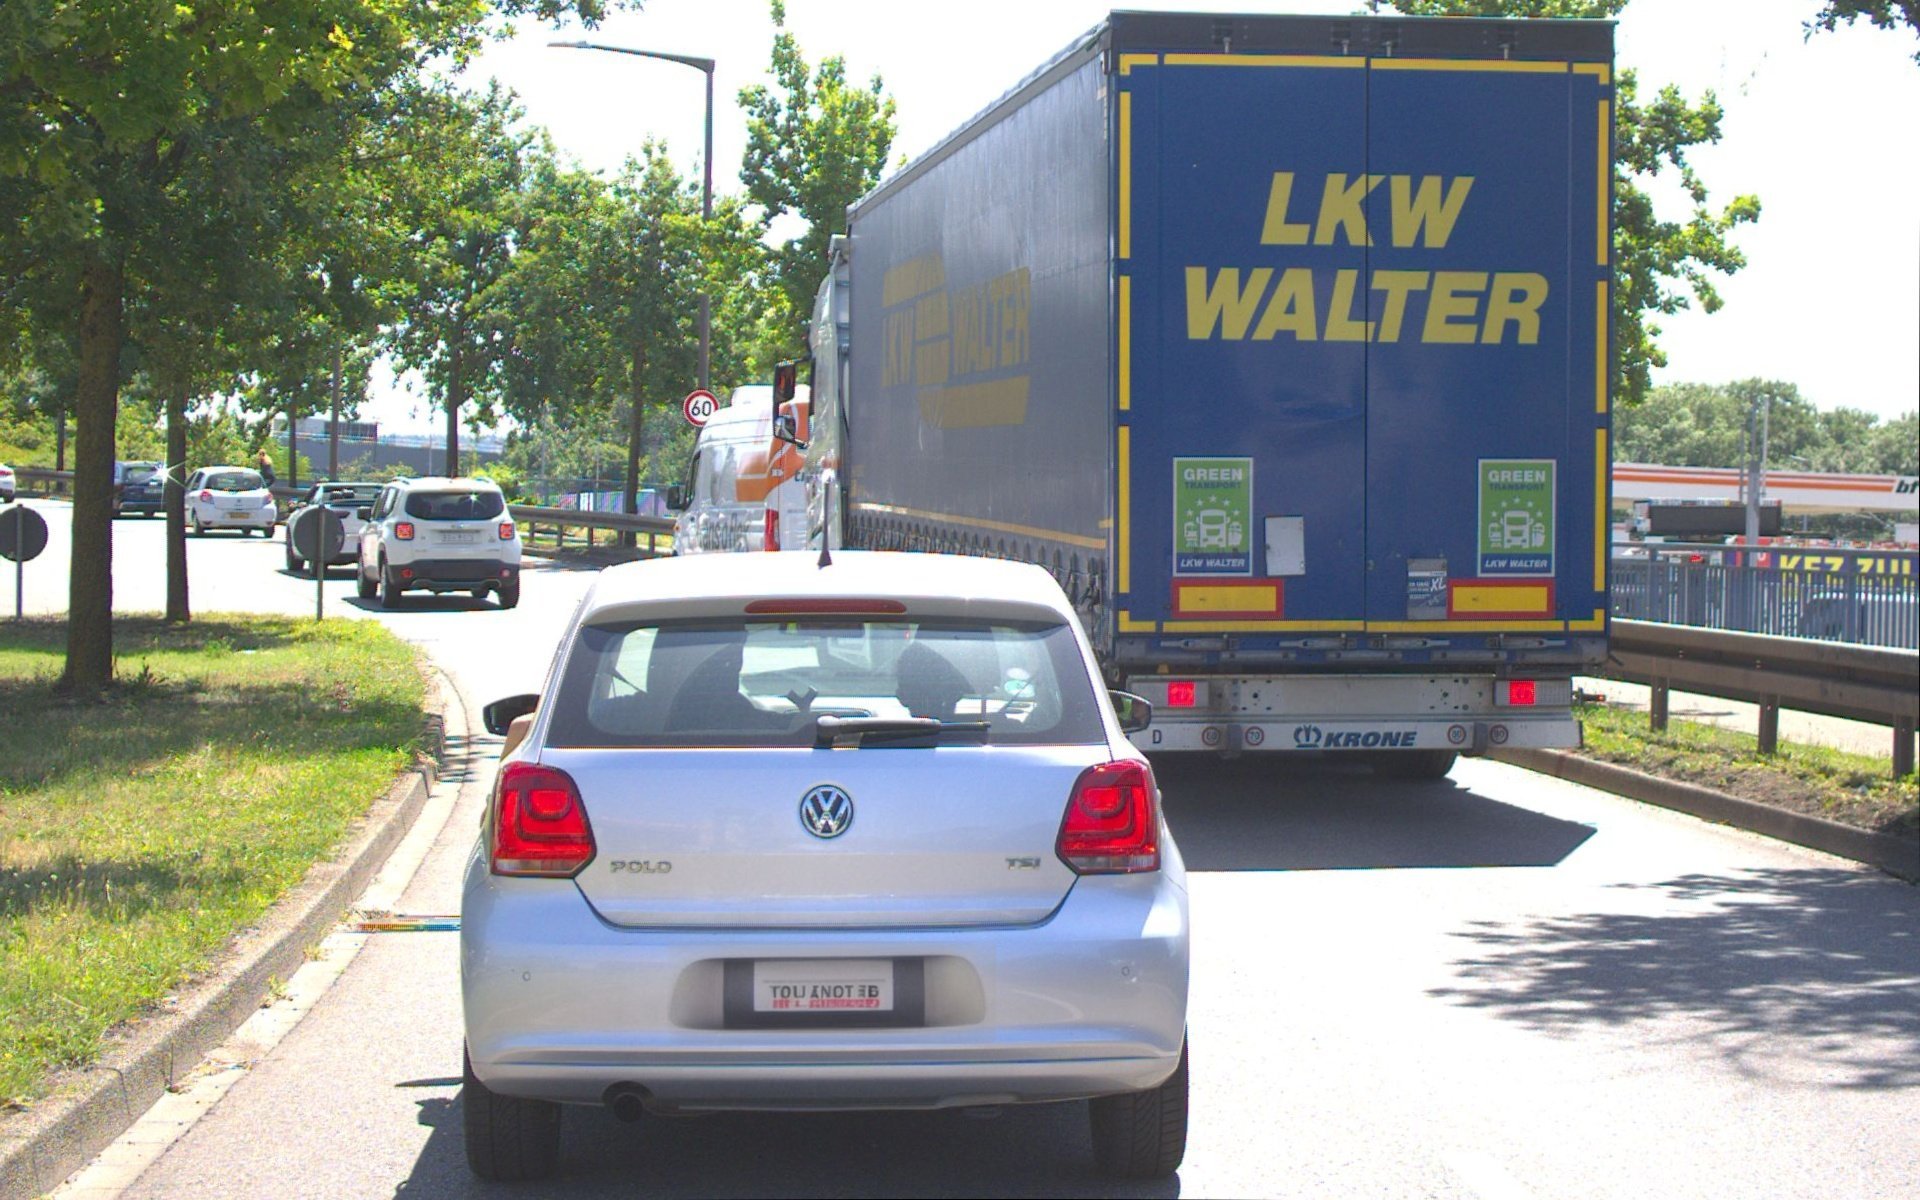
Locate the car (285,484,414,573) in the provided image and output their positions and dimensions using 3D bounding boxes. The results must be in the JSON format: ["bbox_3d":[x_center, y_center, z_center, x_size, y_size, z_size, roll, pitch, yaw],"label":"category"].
[{"bbox_3d":[-9.772,-1.159,54.870,1.494,1.355,3.664,1,2,-18],"label":"car"}]

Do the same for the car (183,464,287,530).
[{"bbox_3d":[-15.533,-2.207,73.562,1.607,1.355,3.664,1,2,-21],"label":"car"}]

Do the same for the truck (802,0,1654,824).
[{"bbox_3d":[0.951,-1.231,24.961,2.832,4.184,16.479,1,1,-7],"label":"truck"}]

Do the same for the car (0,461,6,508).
[{"bbox_3d":[-27.902,-3.261,97.195,1.456,1.309,3.639,1,1,-20],"label":"car"}]

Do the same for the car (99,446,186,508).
[{"bbox_3d":[-20.386,-3.050,85.624,1.664,1.460,3.582,1,1,-20],"label":"car"}]

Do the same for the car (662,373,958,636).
[{"bbox_3d":[-1.933,-1.205,41.560,2.175,2.890,6.361,1,2,-15],"label":"car"}]

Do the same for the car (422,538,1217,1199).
[{"bbox_3d":[-0.336,0.576,8.988,1.646,1.434,3.537,1,1,-1],"label":"car"}]

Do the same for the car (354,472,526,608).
[{"bbox_3d":[-7.044,-0.801,46.275,1.903,1.712,4.225,1,1,-14],"label":"car"}]
